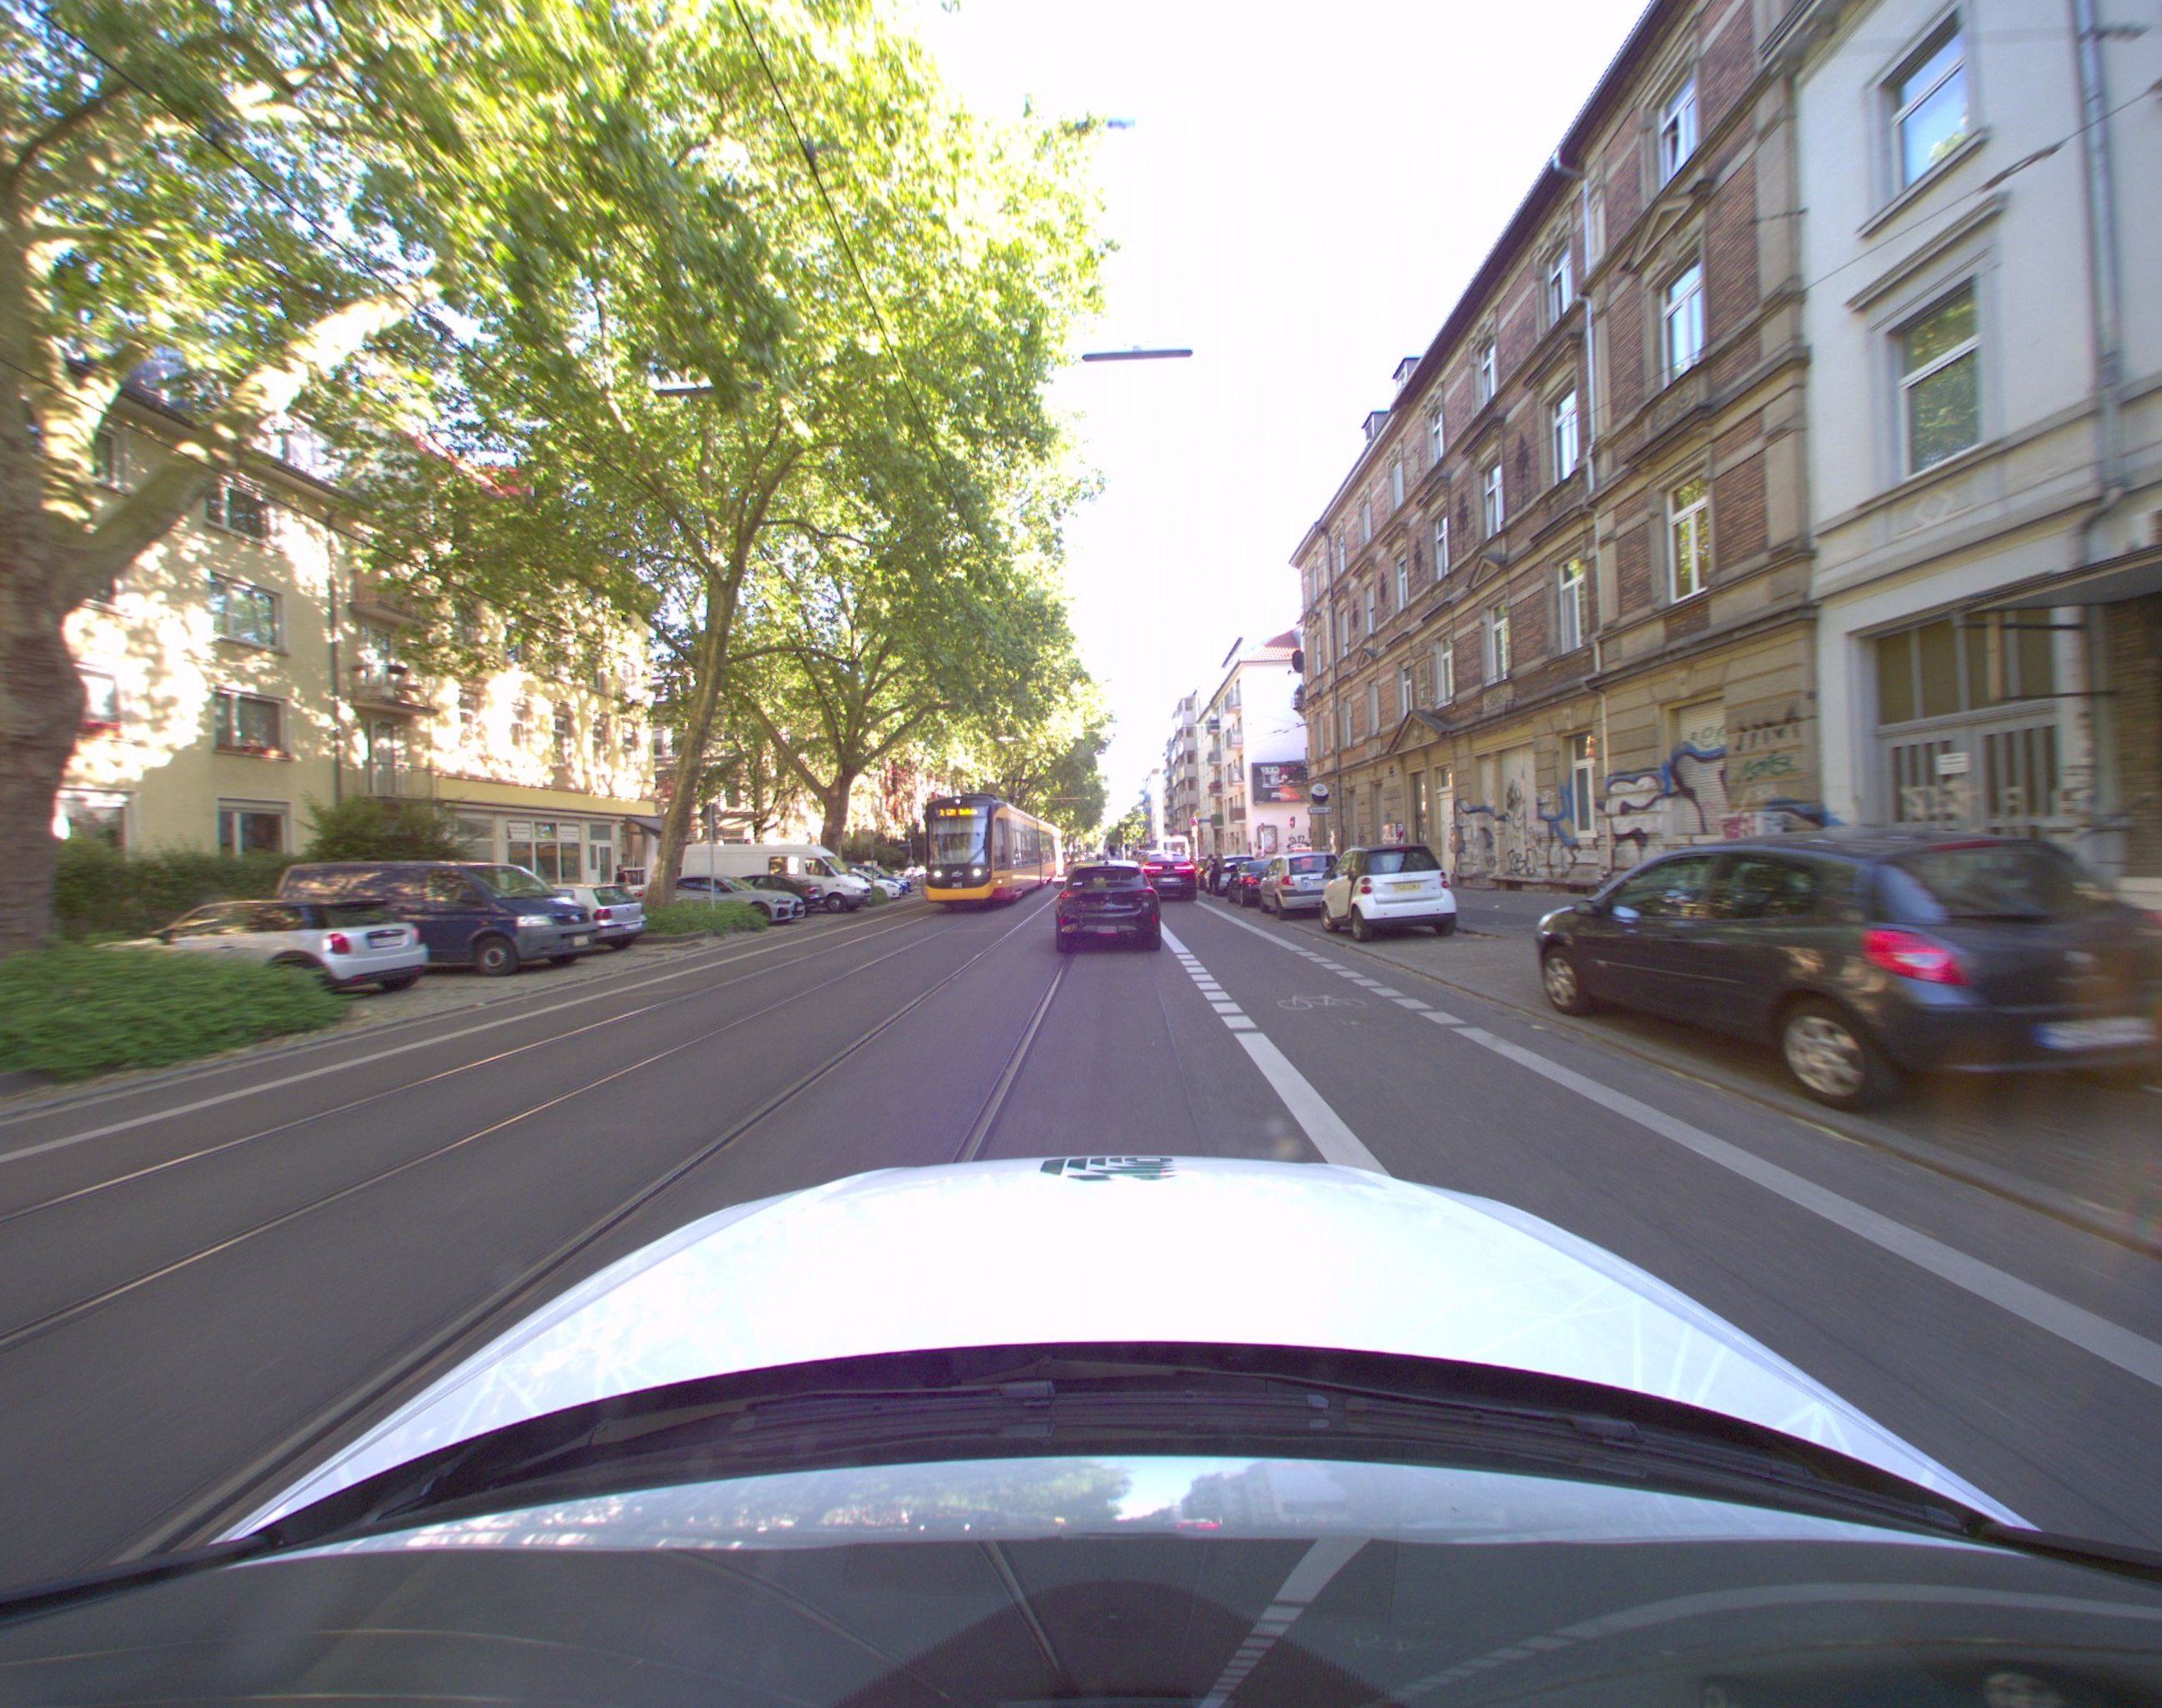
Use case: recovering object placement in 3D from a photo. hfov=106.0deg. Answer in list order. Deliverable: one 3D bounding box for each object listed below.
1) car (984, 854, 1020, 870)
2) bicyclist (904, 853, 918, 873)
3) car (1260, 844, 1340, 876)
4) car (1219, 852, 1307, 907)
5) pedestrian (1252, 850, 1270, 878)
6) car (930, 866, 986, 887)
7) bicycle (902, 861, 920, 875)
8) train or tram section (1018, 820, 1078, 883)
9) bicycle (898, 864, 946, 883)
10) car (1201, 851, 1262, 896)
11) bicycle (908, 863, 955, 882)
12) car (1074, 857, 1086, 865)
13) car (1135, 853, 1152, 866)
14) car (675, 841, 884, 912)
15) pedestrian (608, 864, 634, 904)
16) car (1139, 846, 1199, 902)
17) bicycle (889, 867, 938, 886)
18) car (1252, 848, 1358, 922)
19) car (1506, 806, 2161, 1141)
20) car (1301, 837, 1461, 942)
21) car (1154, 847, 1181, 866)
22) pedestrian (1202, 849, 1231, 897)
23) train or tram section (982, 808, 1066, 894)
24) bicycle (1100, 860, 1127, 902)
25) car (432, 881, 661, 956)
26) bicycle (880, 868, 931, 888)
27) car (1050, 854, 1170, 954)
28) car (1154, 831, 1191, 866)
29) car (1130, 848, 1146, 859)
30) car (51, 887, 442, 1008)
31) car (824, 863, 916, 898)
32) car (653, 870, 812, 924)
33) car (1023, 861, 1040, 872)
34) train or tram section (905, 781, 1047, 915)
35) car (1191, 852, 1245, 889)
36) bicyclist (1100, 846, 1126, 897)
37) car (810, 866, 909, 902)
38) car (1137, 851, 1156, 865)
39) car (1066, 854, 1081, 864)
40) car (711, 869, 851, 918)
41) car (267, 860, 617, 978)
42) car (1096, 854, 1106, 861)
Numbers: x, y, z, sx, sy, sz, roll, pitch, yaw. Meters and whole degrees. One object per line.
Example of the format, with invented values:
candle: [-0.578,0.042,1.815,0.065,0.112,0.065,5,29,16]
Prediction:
car: [-8.787,0.905,91.104,3.909,1.790,1.676,0,-1,-2]
bicyclist: [-15.312,0.828,73.390,0.984,1.756,1.154,-2,0,0]
car: [13.296,0.382,49.668,4.362,1.798,1.876,-2,0,0]
car: [5.275,0.700,24.123,1.802,1.338,3.936,-5,0,3]
pedestrian: [10.394,0.573,47.048,0.863,1.567,0.768,-2,0,0]
car: [-9.098,1.663,60.342,3.909,1.498,1.676,0,-1,-2]
bicycle: [-15.288,1.272,73.411,0.984,1.169,2.952,-2,0,0]
train or tram section: [-1.988,-0.139,54.989,2.724,3.681,12.725,-3,0,3]
bicycle: [-10.340,1.273,53.071,2.919,1.169,0.995,-2,0,18]
car: [5.552,0.697,30.462,1.655,1.419,3.936,-5,0,3]
bicycle: [-9.903,1.232,54.093,2.919,1.169,0.995,-2,0,18]
car: [-0.139,1.213,146.013,1.802,1.338,3.936,-5,0,3]
car: [7.442,0.685,97.465,1.802,1.338,3.936,-5,0,3]
car: [-10.788,0.792,29.527,6.603,2.409,2.459,0,-1,1]
pedestrian: [-17.371,1.112,30.742,0.660,1.498,0.626,0,-1,-8]
car: [2.987,0.639,28.331,1.802,1.742,3.936,-2,0,3]
bicycle: [-10.665,1.441,51.931,2.919,1.169,0.995,-2,0,18]
car: [5.230,0.668,19.460,1.697,1.456,3.702,-5,0,5]
car: [4.904,0.573,5.819,1.705,1.483,3.764,-5,0,1]
car: [5.154,0.571,14.406,1.563,1.517,3.039,-5,0,-1]
car: [6.957,0.182,65.902,1.802,1.338,3.936,-5,0,3]
pedestrian: [4.553,0.641,27.419,0.862,1.567,0.770,-2,0,6]
train or tram section: [-2.633,-0.132,42.264,2.724,3.681,12.725,-3,0,3]
bicycle: [1.139,0.917,28.823,0.857,1.407,2.524,-2,0,1]
car: [-11.107,1.307,17.090,3.721,1.430,1.638,0,-1,1]
bicycle: [-10.895,1.514,50.598,2.919,1.169,0.995,-2,0,18]
car: [0.490,0.756,14.185,1.787,1.441,3.532,-2,1,1]
car: [6.374,-0.363,57.060,2.067,2.219,4.937,-5,0,3]
car: [7.494,-0.085,107.265,1.802,1.338,3.936,-5,0,3]
car: [-11.585,1.259,11.503,3.721,1.498,1.747,0,0,1]
car: [-9.934,1.247,38.604,3.909,1.577,1.676,0,-1,-2]
car: [-10.120,1.234,23.820,3.904,1.498,1.678,0,-1,2]
car: [-6.505,1.632,107.714,1.802,1.338,3.936,-1,0,3]
train or tram section: [-3.264,-0.153,29.550,2.724,3.681,12.725,-3,0,3]
car: [5.953,0.679,35.891,1.802,1.379,3.936,-5,0,3]
bicyclist: [1.111,0.604,28.703,0.845,1.740,1.162,-2,0,0]
car: [-9.764,1.300,36.139,3.909,1.498,1.676,0,-1,-2]
car: [7.173,0.401,89.441,1.802,1.338,3.936,-5,0,3]
car: [-1.052,0.707,115.306,1.802,1.338,3.936,-2,0,3]
car: [-9.734,1.267,26.618,3.909,1.498,1.676,0,-1,-2]
car: [-11.109,1.078,14.409,4.656,1.924,1.981,0,-1,2]
car: [3.968,0.621,163.898,1.804,1.338,3.932,-2,0,0]
